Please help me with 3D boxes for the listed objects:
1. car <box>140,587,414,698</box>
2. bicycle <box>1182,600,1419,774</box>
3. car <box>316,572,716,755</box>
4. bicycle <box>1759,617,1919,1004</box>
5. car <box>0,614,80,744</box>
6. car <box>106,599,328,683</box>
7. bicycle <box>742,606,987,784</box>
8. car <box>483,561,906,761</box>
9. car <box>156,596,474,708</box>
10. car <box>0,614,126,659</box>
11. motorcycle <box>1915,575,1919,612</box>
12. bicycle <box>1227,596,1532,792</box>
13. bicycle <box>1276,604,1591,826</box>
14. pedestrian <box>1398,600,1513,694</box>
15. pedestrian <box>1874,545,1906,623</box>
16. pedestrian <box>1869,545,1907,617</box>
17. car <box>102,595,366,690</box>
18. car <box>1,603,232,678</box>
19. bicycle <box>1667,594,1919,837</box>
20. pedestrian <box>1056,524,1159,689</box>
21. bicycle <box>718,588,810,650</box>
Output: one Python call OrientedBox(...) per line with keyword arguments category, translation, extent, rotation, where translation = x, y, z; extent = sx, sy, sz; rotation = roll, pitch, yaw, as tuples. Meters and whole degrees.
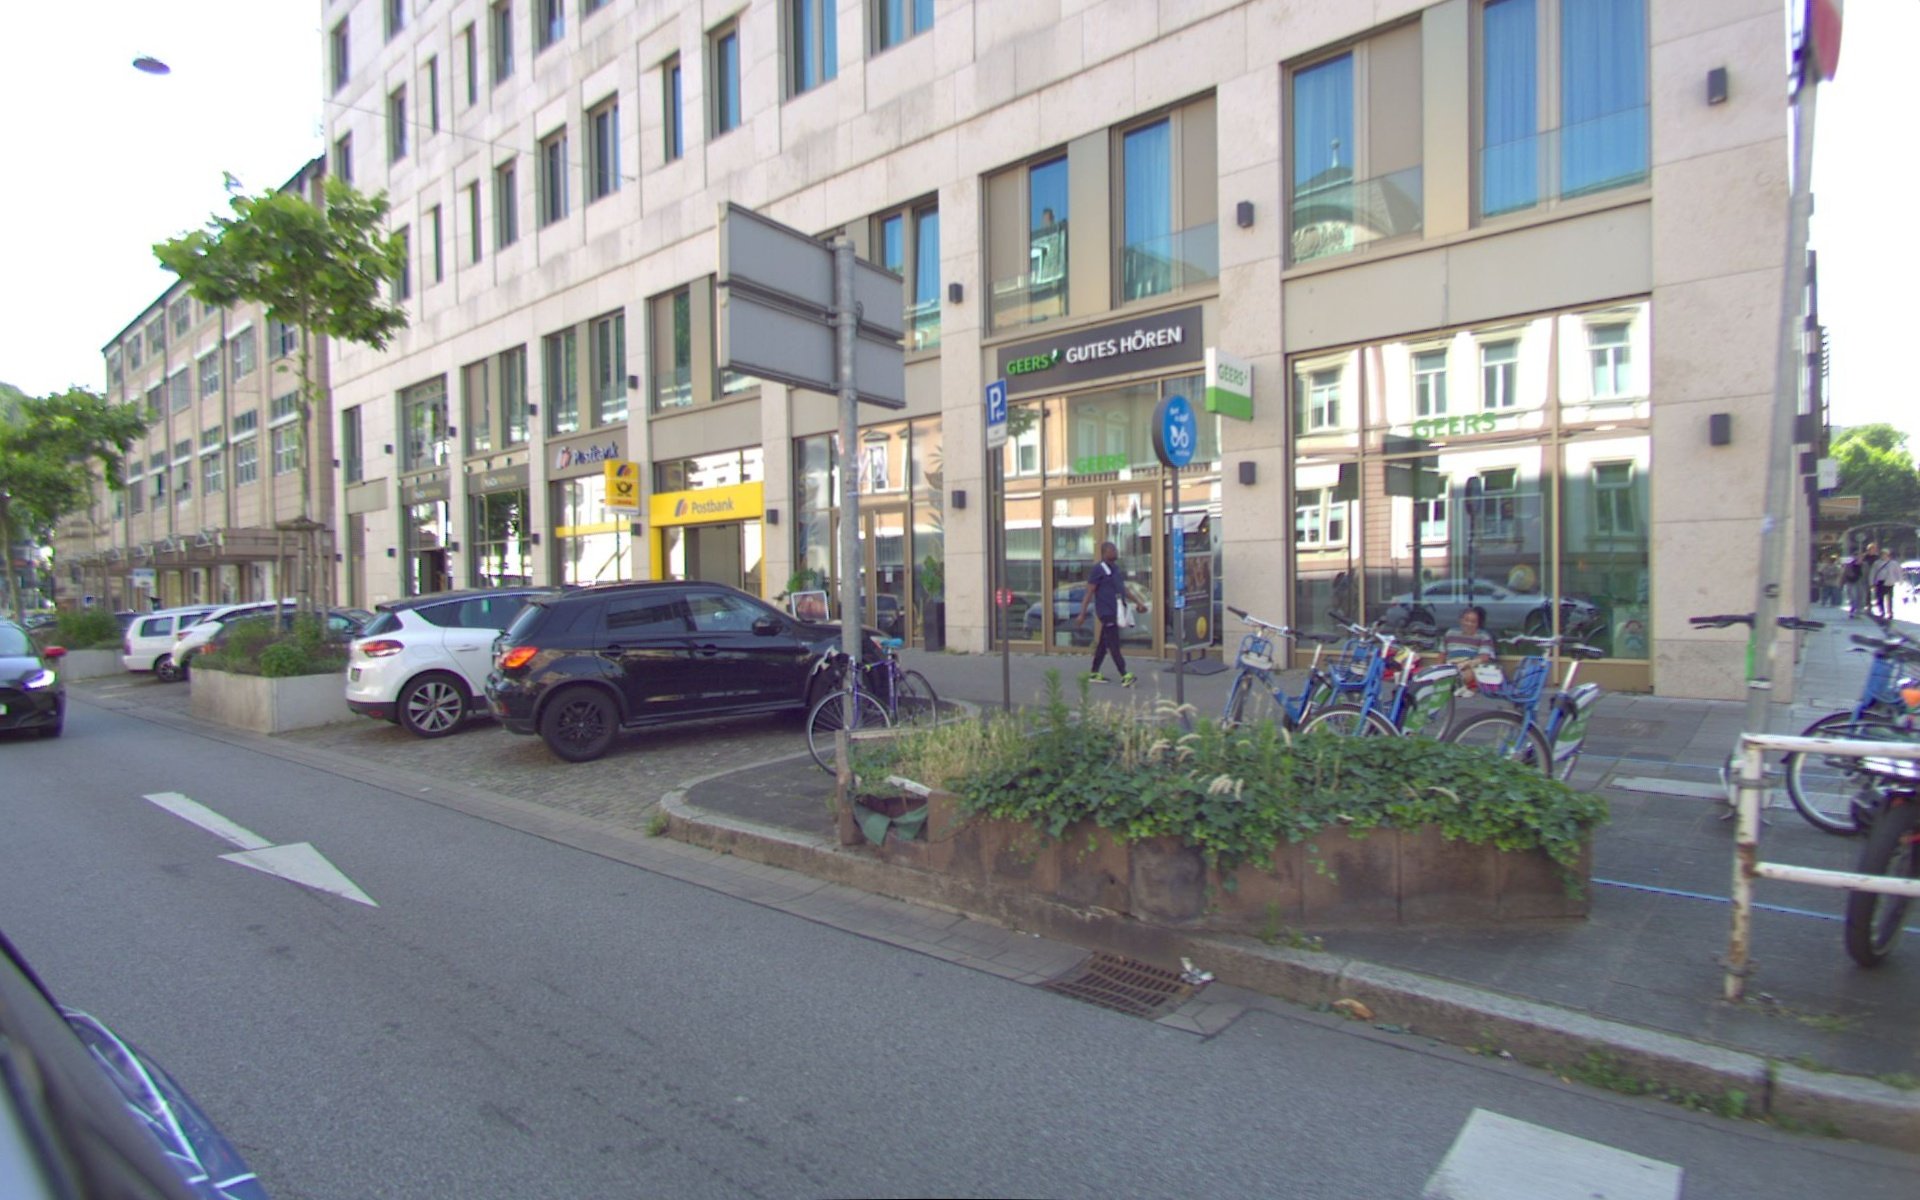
OrientedBox(category="car", translation=(-13.250, 0.767, 19.912), extent=(3.971, 1.604, 1.825), rotation=(-6, 4, -16))
OrientedBox(category="bicycle", translation=(2.650, 0.620, 7.816), extent=(1.834, 1.135, 0.486), rotation=(-4, 1, -24))
OrientedBox(category="car", translation=(-5.511, 0.638, 12.822), extent=(4.108, 1.648, 2.106), rotation=(-7, 4, -40))
OrientedBox(category="bicycle", translation=(4.019, 0.653, 3.532), extent=(2.033, 1.182, 0.606), rotation=(-2, 1, -3))
OrientedBox(category="car", translation=(-12.803, 0.984, 12.819), extent=(4.102, 1.489, 1.845), rotation=(-2, -2, 39))
OrientedBox(category="car", translation=(-17.884, 0.909, 24.490), extent=(1.819, 1.539, 3.948), rotation=(1, 5, 40))
OrientedBox(category="bicycle", translation=(-0.683, 0.679, 8.040), extent=(0.485, 1.135, 2.118), rotation=(-2, 1, 42))
OrientedBox(category="car", translation=(-2.811, 0.485, 10.738), extent=(3.965, 1.614, 1.965), rotation=(-4, 3, -26))
OrientedBox(category="car", translation=(-10.998, 0.829, 17.616), extent=(4.246, 1.460, 1.792), rotation=(-4, 3, -15))
OrientedBox(category="car", translation=(-36.447, 1.446, 40.088), extent=(5.051, 1.645, 1.847), rotation=(-1, -1, -10))
OrientedBox(category="motorcycle", translation=(31.452, -0.243, 31.929), extent=(2.033, 1.182, 0.708), rotation=(-3, 1, -4))
OrientedBox(category="bicycle", translation=(3.043, 0.604, 7.254), extent=(2.289, 1.135, 0.564), rotation=(-4, 2, -24))
OrientedBox(category="bicycle", translation=(3.015, 0.655, 6.391), extent=(2.029, 1.135, 0.564), rotation=(-4, 1, -24))
OrientedBox(category="pedestrian", translation=(5.421, 0.486, 11.049), extent=(0.841, 0.932, 1.237), rotation=(-1, 0, 40))
OrientedBox(category="pedestrian", translation=(27.884, -0.478, 30.345), extent=(0.667, 2.309, 0.757), rotation=(-1, 0, 42))
OrientedBox(category="pedestrian", translation=(23.180, -0.458, 25.295), extent=(0.667, 1.771, 0.757), rotation=(-1, 0, 42))
OrientedBox(category="car", translation=(-15.780, 0.844, 22.343), extent=(4.426, 1.442, 1.869), rotation=(-7, 4, -29))
OrientedBox(category="car", translation=(-23.216, 1.062, 28.066), extent=(4.455, 1.515, 1.798), rotation=(-5, 4, -18))
OrientedBox(category="bicycle", translation=(4.973, 0.564, 5.659), extent=(2.029, 1.135, 0.649), rotation=(-2, 0, -22))
OrientedBox(category="pedestrian", translation=(1.797, 0.059, 12.302), extent=(0.844, 1.892, 0.830), rotation=(-1, 4, 42))
OrientedBox(category="bicycle", translation=(-3.825, 0.366, 19.599), extent=(2.160, 1.115, 0.490), rotation=(-1, 2, 41))
